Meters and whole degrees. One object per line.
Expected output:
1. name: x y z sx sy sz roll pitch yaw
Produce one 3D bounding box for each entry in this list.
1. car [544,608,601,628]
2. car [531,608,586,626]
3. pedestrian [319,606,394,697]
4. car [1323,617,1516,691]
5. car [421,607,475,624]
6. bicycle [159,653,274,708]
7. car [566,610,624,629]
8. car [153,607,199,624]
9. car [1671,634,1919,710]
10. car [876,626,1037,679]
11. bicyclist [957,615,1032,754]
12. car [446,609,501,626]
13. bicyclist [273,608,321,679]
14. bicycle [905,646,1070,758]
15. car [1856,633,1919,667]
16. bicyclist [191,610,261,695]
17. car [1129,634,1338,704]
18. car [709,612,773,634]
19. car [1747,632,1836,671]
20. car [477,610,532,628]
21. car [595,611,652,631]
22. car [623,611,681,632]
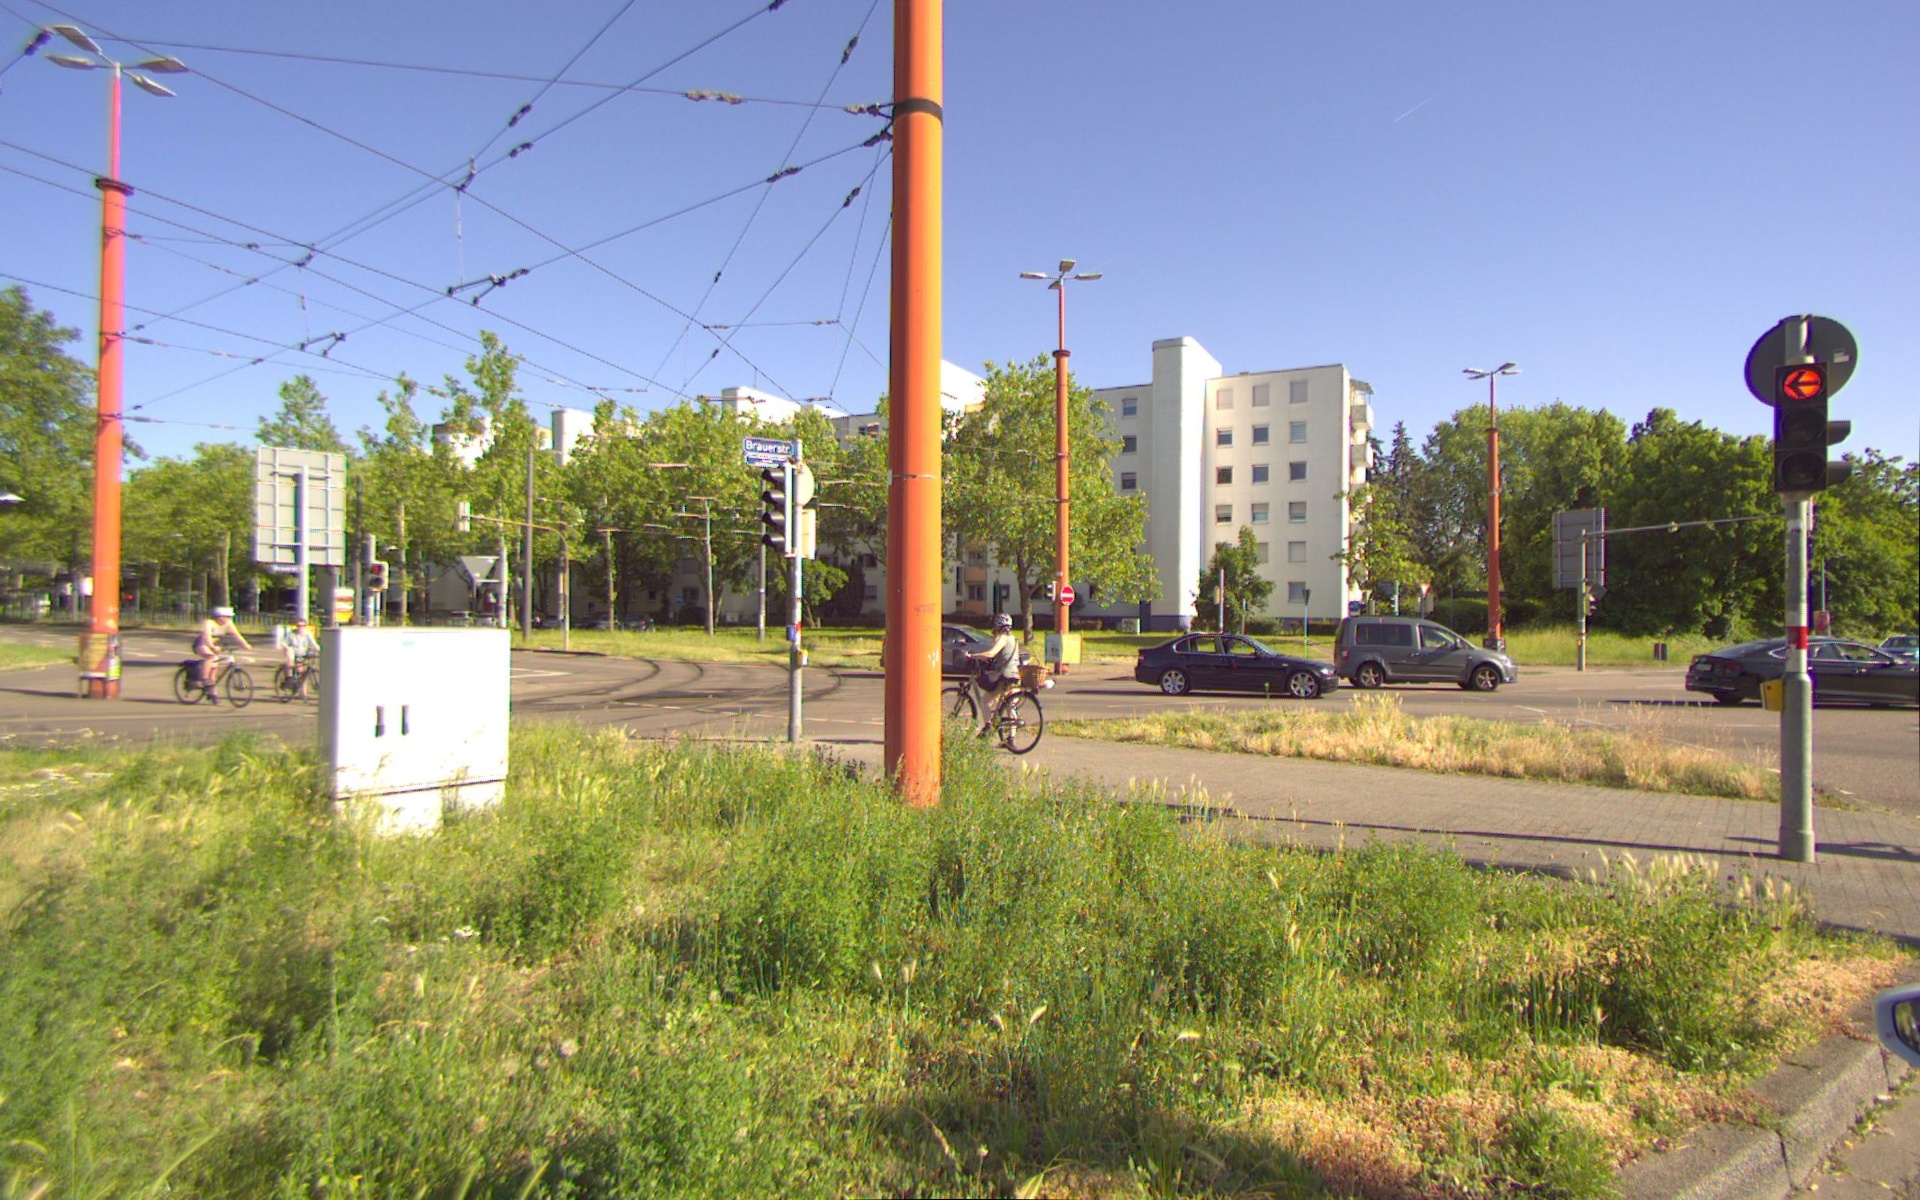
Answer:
1. car: -30.070 1.413 78.085 3.934 1.428 1.794 1 -1 -16
2. car: -31.932 1.363 79.982 3.935 1.428 1.794 1 -1 -17
3. pedestrian: -12.489 1.055 20.811 0.970 1.817 0.953 0 -1 30
4. car: 11.583 1.327 25.627 4.220 1.730 1.853 0 -1 15
5. car: -44.783 1.381 87.907 3.935 1.428 1.794 1 -1 -17
6. bicycle: -13.958 1.496 18.886 1.612 0.974 0.685 1 -1 -1
7. car: -27.572 1.481 75.931 3.934 1.428 1.794 1 -1 -16
8. car: -93.979 1.872 120.471 1.969 2.040 3.984 0 -1 38
9. car: 16.882 1.380 19.851 4.274 1.368 1.767 0 -1 9
10. car: -0.097 1.493 29.347 4.351 1.441 1.836 0 -1 22
11. bicyclist: 0.420 0.987 12.104 0.651 1.605 0.671 0 -1 33
12. car: -41.428 1.480 85.637 3.935 1.428 1.794 1 -1 -17
13. bicyclist: -13.137 0.857 19.914 0.616 1.399 0.443 1 -1 -1
14. bicycle: 0.316 1.190 12.172 1.915 1.210 0.690 0 -1 33
15. car: 37.159 1.960 39.626 3.571 1.260 1.730 1 -1 -31
16. bicyclist: -13.814 0.972 18.929 0.752 1.565 0.732 1 -1 -1
17. car: 6.038 1.465 22.152 4.277 1.368 1.765 0 -1 21
18. car: -14.537 1.547 66.851 1.770 1.428 3.987 0 -1 35
19. car: 35.212 2.139 42.520 3.891 1.552 1.752 1 -1 -31
20. car: -38.025 1.562 83.895 3.935 1.428 1.794 1 -1 -17
21. car: -24.990 1.552 74.706 3.934 1.428 1.794 1 -1 -16
22. car: -22.250 1.543 72.655 3.934 1.428 1.794 1 -1 -16
